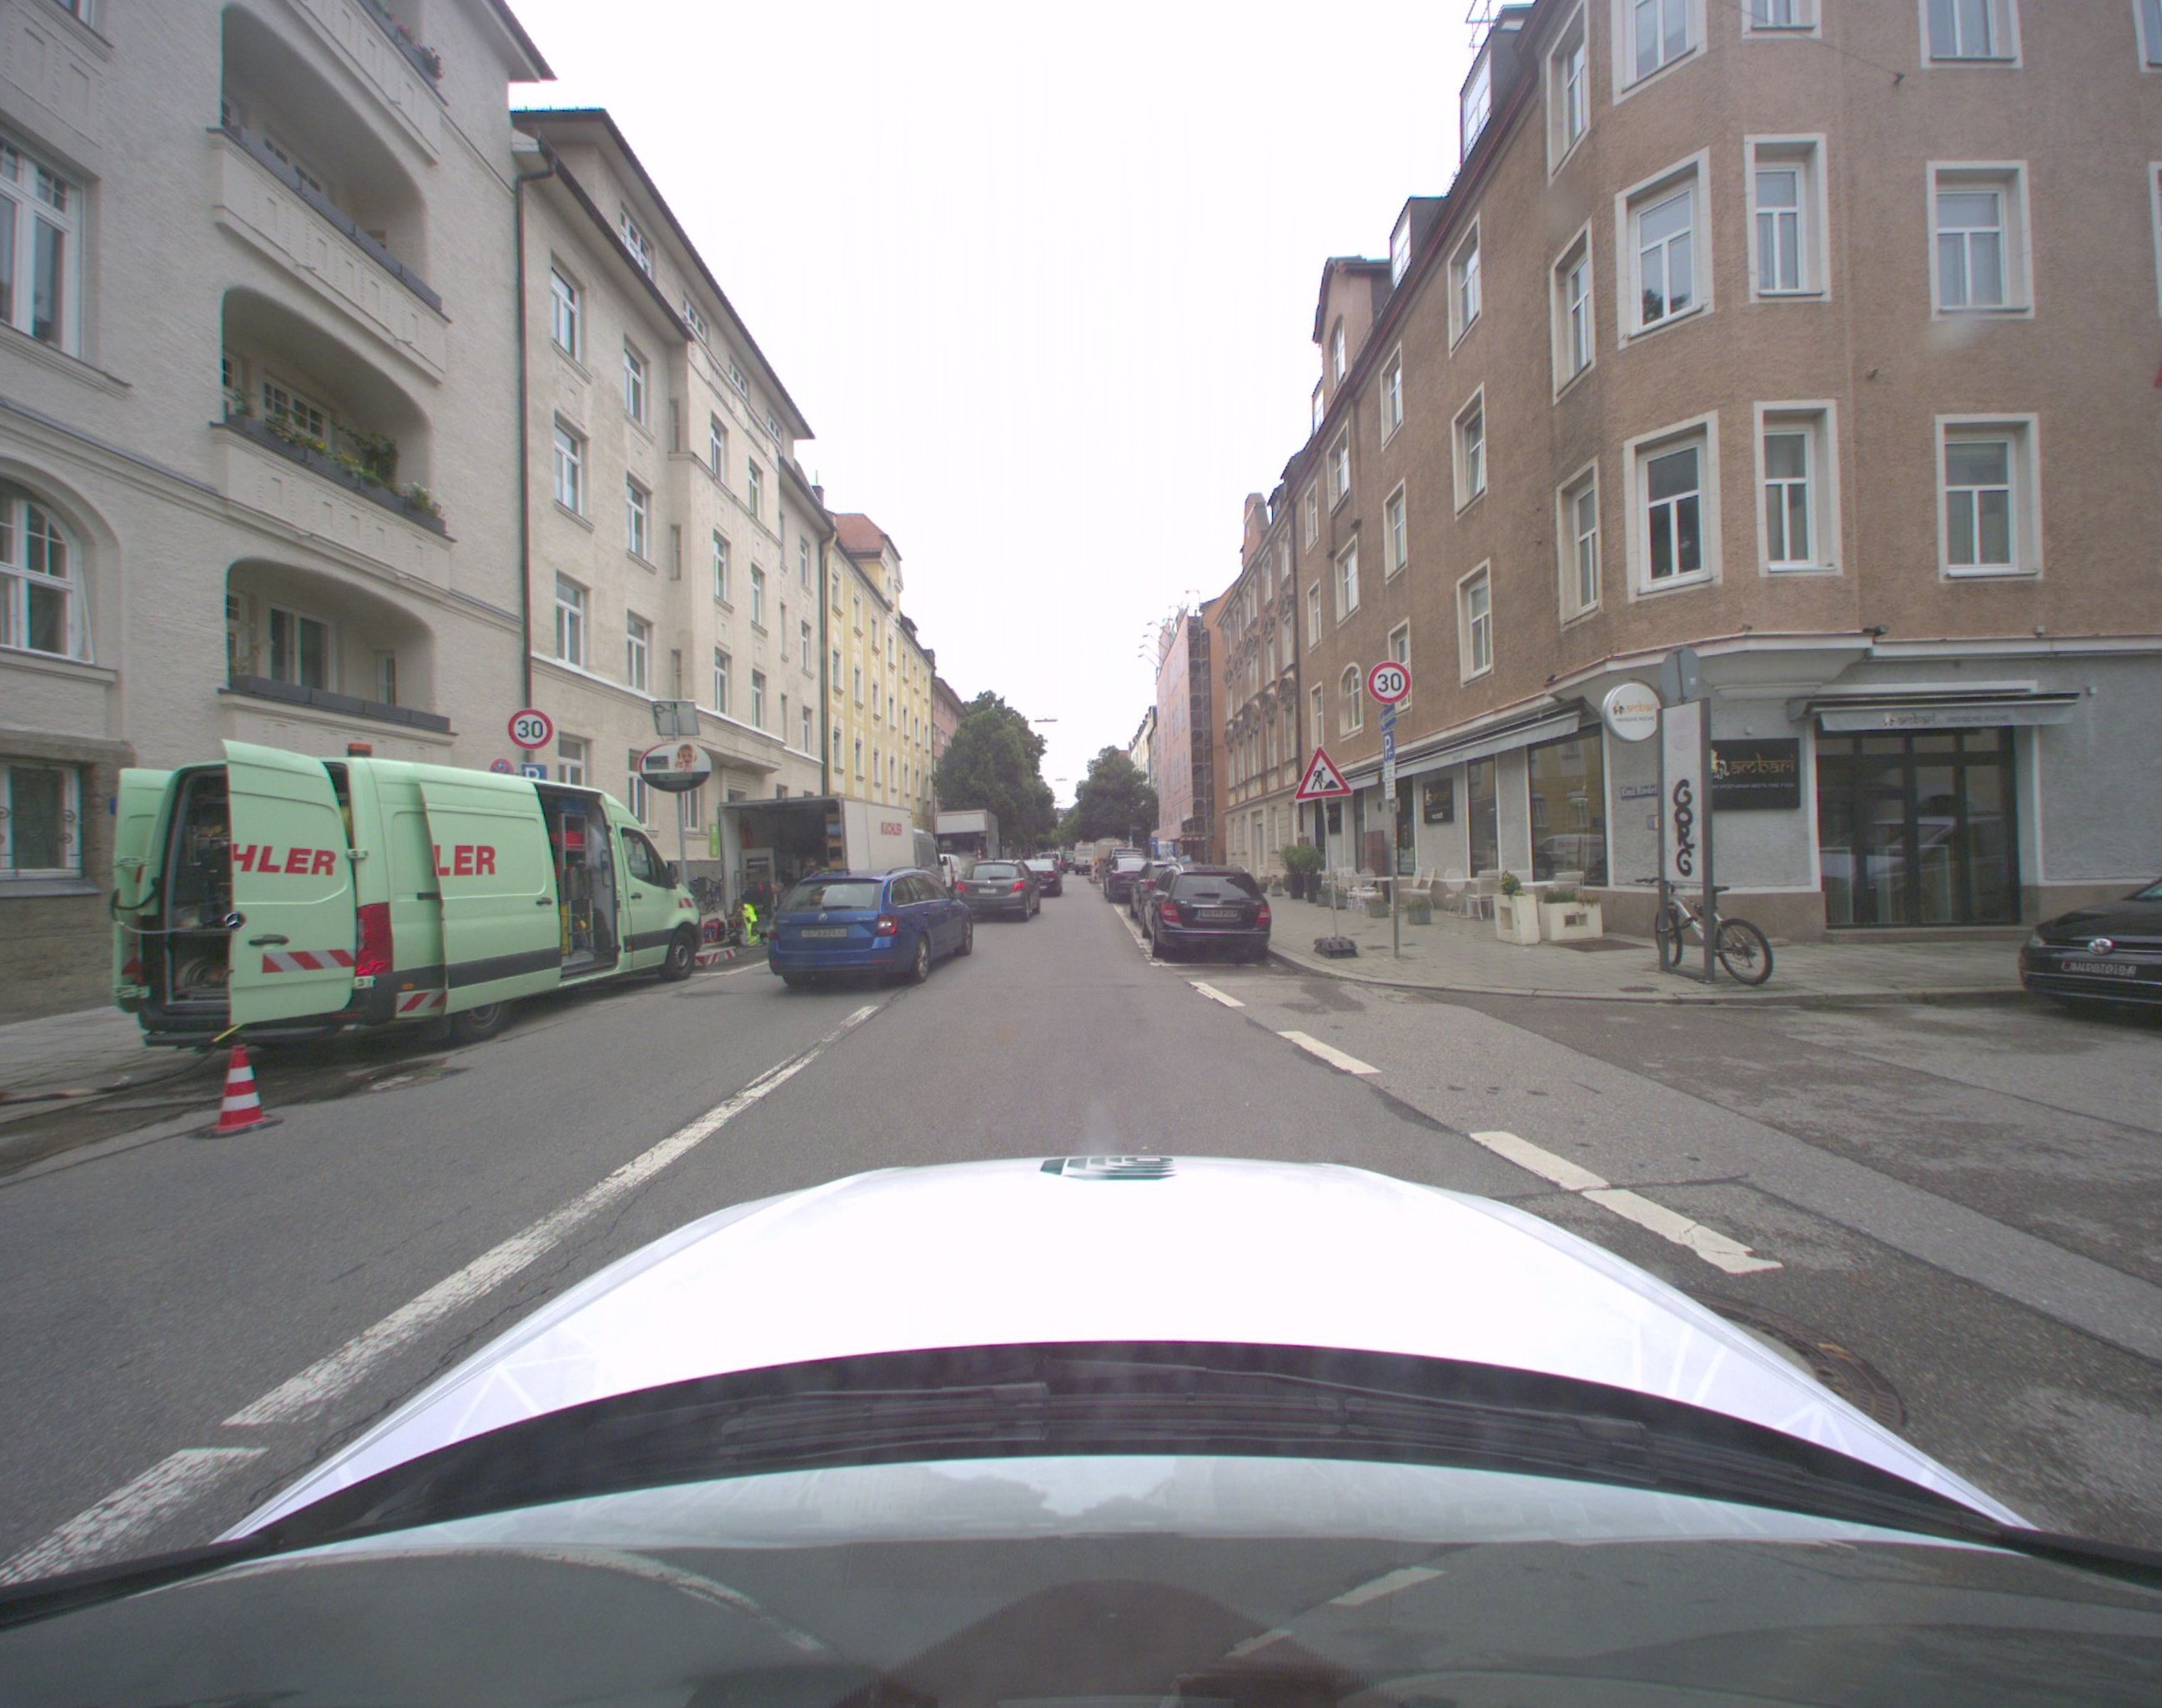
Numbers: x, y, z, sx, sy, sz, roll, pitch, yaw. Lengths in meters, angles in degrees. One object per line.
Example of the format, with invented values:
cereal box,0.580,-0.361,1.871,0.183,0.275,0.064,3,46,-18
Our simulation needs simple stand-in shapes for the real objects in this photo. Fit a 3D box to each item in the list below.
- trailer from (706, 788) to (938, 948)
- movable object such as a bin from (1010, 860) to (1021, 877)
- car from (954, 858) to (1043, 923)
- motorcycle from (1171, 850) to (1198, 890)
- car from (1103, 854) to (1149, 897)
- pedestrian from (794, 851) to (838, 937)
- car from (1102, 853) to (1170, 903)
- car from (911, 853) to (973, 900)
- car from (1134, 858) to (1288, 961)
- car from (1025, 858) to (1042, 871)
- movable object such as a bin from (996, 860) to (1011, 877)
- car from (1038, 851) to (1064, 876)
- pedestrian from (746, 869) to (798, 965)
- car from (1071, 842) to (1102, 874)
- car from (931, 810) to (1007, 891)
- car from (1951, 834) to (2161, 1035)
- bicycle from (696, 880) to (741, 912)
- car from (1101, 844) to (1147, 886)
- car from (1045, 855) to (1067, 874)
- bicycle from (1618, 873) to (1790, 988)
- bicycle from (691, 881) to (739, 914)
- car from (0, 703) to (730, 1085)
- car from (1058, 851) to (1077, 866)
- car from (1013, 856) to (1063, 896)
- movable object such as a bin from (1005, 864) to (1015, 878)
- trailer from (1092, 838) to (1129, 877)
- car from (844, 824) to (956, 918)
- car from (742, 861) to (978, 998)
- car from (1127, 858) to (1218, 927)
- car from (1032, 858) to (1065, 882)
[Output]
trailer,-5.800,0.246,19.915,2.793,2.968,7.603,-4,0,2
movable object such as a bin,-5.478,1.237,68.154,0.916,1.376,1.078,-3,0,-5
car,-1.948,0.842,20.178,1.735,1.422,3.665,-1,-1,1
motorcycle,4.142,0.628,32.693,0.868,1.505,1.998,-1,0,2
car,1.834,0.872,34.204,1.688,1.676,4.408,2,-1,1
pedestrian,-5.239,0.781,16.105,0.764,1.631,0.633,-2,-1,-20
car,1.826,0.778,28.852,1.925,1.553,5.633,-1,0,-1
car,-5.851,0.920,34.828,1.757,1.779,4.327,-3,0,1
car,1.985,0.791,13.858,1.841,1.405,4.787,-1,0,0
car,-5.712,1.238,98.738,1.806,1.478,3.999,-1,0,0
movable object such as a bin,-6.471,1.226,68.049,1.080,1.376,1.082,-3,0,-5
car,-2.256,0.692,62.921,1.861,1.870,4.346,0,0,0
pedestrian,-5.335,1.063,14.108,0.763,1.580,0.633,-2,-1,-18
car,0.519,0.377,69.489,2.102,2.664,5.508,0,-1,5
car,-5.719,-0.133,43.185,2.804,3.817,8.720,-2,-1,-1
car,9.943,0.551,6.544,3.860,1.488,1.892,-2,-1,0
bicycle,-11.042,1.268,24.870,0.413,0.914,1.759,2,-1,5
car,2.043,0.614,40.261,2.075,1.921,5.139,0,-3,1
car,-2.180,0.905,73.118,1.861,1.653,4.346,0,0,0
bicycle,6.603,0.761,8.759,0.493,1.005,1.804,-3,1,3
bicycle,-10.773,1.258,24.008,0.392,0.914,1.593,2,-1,12
car,-6.456,0.280,8.970,2.134,2.572,6.794,-1,0,0
car,-1.466,0.462,88.328,2.002,1.653,4.344,0,0,-2
car,-1.633,0.823,32.449,1.862,1.454,4.345,0,0,-1
movable object such as a bin,-5.879,1.392,67.229,0.710,1.148,0.635,-3,0,-4
trailer,2.191,0.282,62.432,2.494,2.840,6.899,0,-1,0
car,-5.850,0.511,27.410,2.050,2.587,6.874,-5,0,-1
car,-2.738,0.865,11.213,1.781,1.460,4.318,-2,0,4
car,2.025,0.824,19.074,1.568,1.394,4.180,-2,-1,-1
car,-1.924,0.965,49.604,1.861,1.348,4.346,0,0,0
